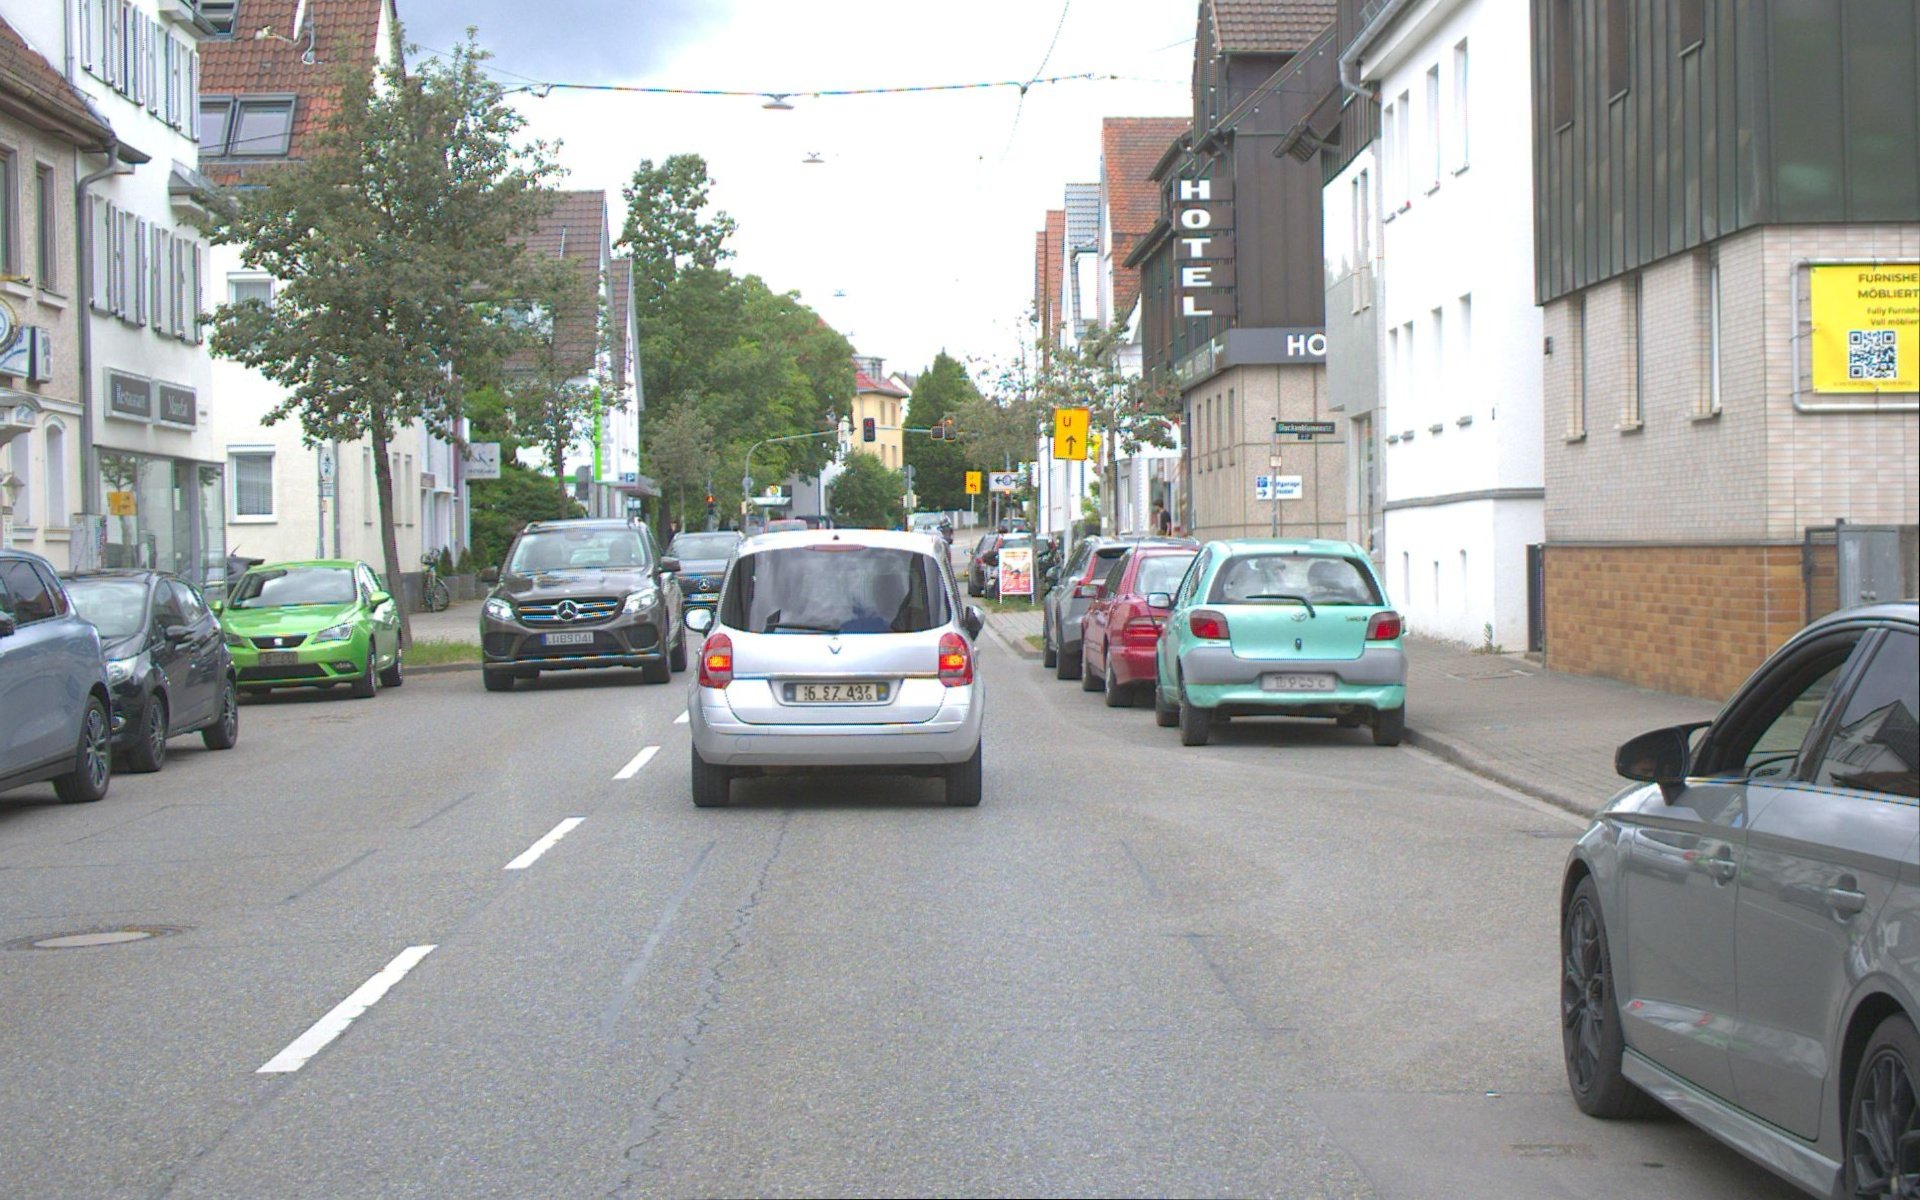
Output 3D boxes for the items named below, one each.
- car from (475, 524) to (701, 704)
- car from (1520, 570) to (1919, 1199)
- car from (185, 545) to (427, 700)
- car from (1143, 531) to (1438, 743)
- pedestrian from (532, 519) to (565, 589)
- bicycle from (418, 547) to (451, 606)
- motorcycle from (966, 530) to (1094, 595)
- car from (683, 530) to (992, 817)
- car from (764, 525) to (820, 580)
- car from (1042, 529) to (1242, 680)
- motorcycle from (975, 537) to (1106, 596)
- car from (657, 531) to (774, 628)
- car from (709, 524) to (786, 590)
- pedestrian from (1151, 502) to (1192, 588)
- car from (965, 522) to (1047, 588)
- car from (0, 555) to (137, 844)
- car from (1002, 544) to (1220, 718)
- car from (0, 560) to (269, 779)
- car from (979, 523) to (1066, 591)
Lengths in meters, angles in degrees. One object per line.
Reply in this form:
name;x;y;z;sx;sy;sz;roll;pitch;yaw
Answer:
car;-3.914;0.098;36.828;1.900;1.731;4.366;-2;1;0
car;2.516;0.685;7.291;1.831;1.441;4.110;0;1;-2
car;-6.786;0.191;36.066;1.682;1.442;4.020;-2;1;0
car;2.443;0.222;26.309;1.831;1.492;3.994;0;1;0
pedestrian;-10.557;-1.179;88.191;0.762;1.785;0.890;0;1;-1
bicycle;-10.358;-0.476;67.781;0.514;1.149;1.667;0;1;-4
motorcycle;1.457;-0.793;71.202;2.707;1.331;0.700;-1;1;-31
car;-0.686;0.360;20.759;1.682;1.560;3.994;0;1;0
car;-6.188;-1.763;127.139;1.952;2.007;4.000;0;1;-1
car;1.903;0.000;37.144;1.875;1.534;4.513;0;1;-1
motorcycle;1.654;-0.698;70.161;2.728;1.179;0.700;-1;1;-31
car;-4.331;-0.402;61.385;1.794;1.573;4.192;-3;1;-1
car;-4.977;-1.018;80.486;1.682;1.442;4.021;-3;1;-3
pedestrian;4.723;-1.230;76.723;0.857;1.921;0.900;0;1;-1
car;1.033;-1.049;79.156;1.700;1.462;4.239;0;1;-2
car;-6.305;0.581;20.343;1.803;1.593;4.305;-2;1;0
car;1.305;0.226;31.308;1.755;1.441;4.455;0;1;0
car;-6.381;0.465;25.980;1.581;1.503;3.812;0;1;-1
car;1.326;-0.949;74.348;1.700;1.425;3.891;0;1;-2
